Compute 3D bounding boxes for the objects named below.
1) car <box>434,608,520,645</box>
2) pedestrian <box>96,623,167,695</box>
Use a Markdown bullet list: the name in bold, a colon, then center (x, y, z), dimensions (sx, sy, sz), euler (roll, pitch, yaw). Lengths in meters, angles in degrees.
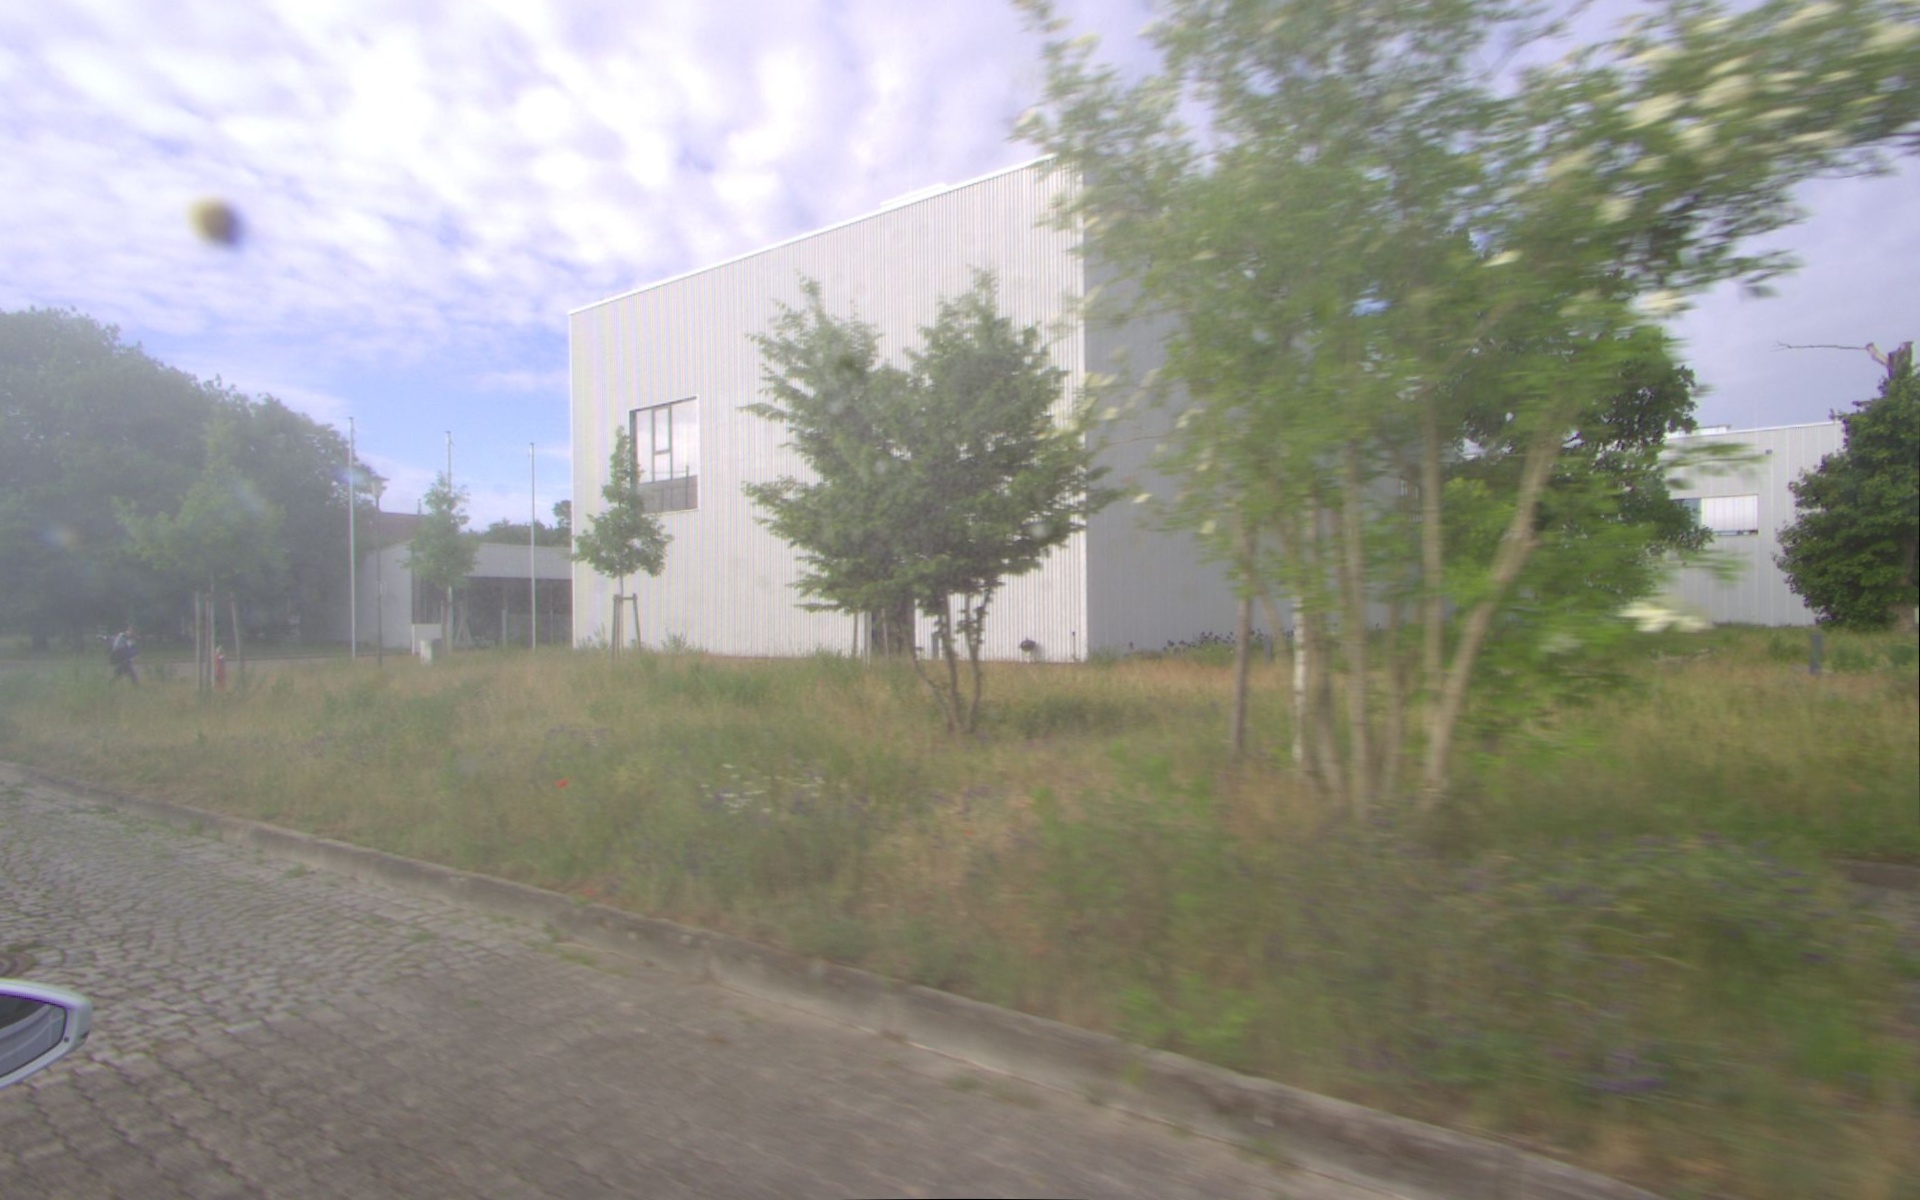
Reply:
- **car**: center (-28.112, 1.525, 58.223), dimensions (5.265, 2.040, 2.235), euler (-1, -1, 35)
- **pedestrian**: center (-18.900, 1.319, 22.866), dimensions (1.063, 1.577, 1.069), euler (-1, 0, -30)
